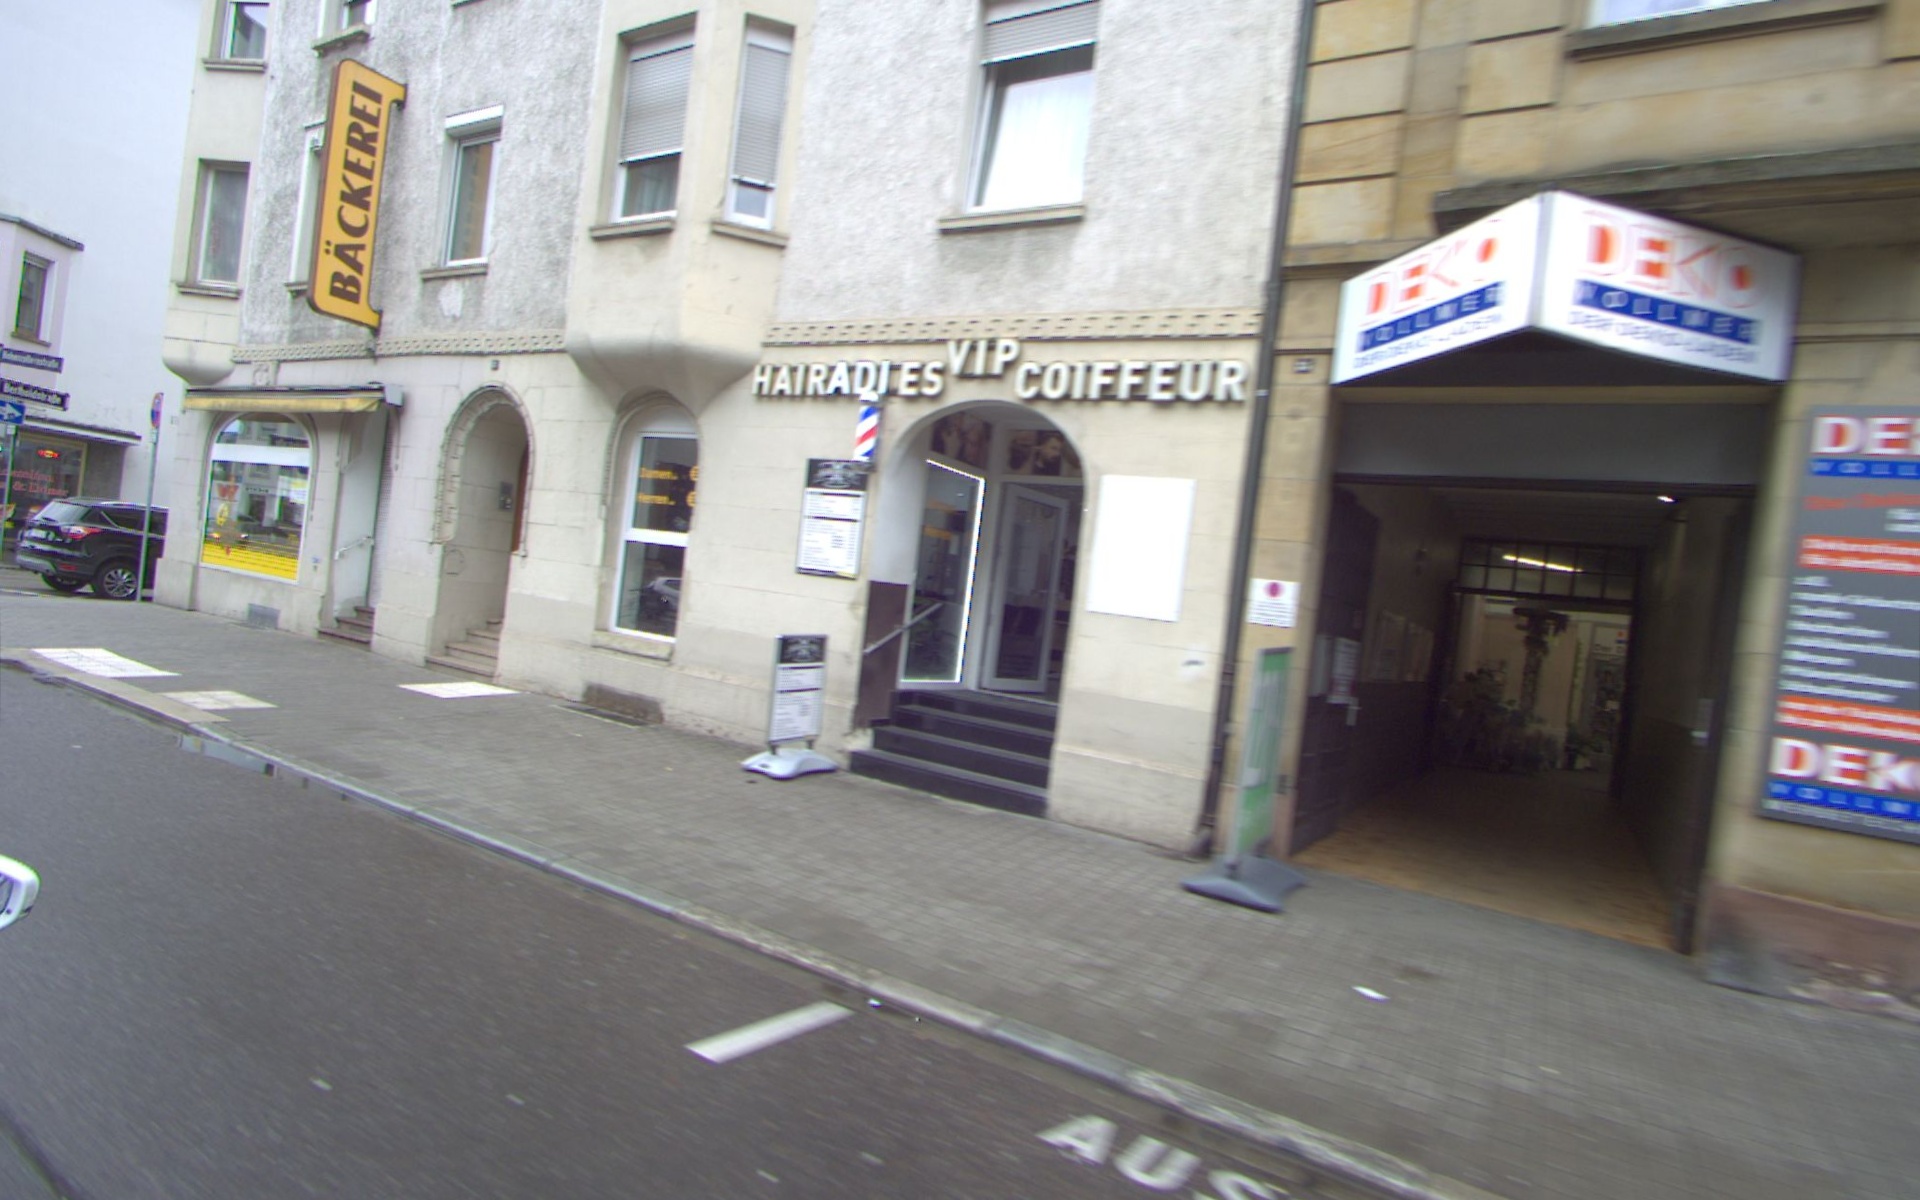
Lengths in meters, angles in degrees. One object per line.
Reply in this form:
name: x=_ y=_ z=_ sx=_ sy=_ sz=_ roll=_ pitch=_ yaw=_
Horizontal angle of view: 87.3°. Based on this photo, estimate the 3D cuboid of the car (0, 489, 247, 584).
car: x=-19.577 y=-1.421 z=23.689 sx=1.774 sy=1.626 sz=4.119 roll=5 pitch=-2 yaw=25

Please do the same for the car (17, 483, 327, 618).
car: x=-14.276 y=-0.842 z=18.387 sx=1.849 sy=1.792 sz=4.130 roll=7 pitch=-1 yaw=44
